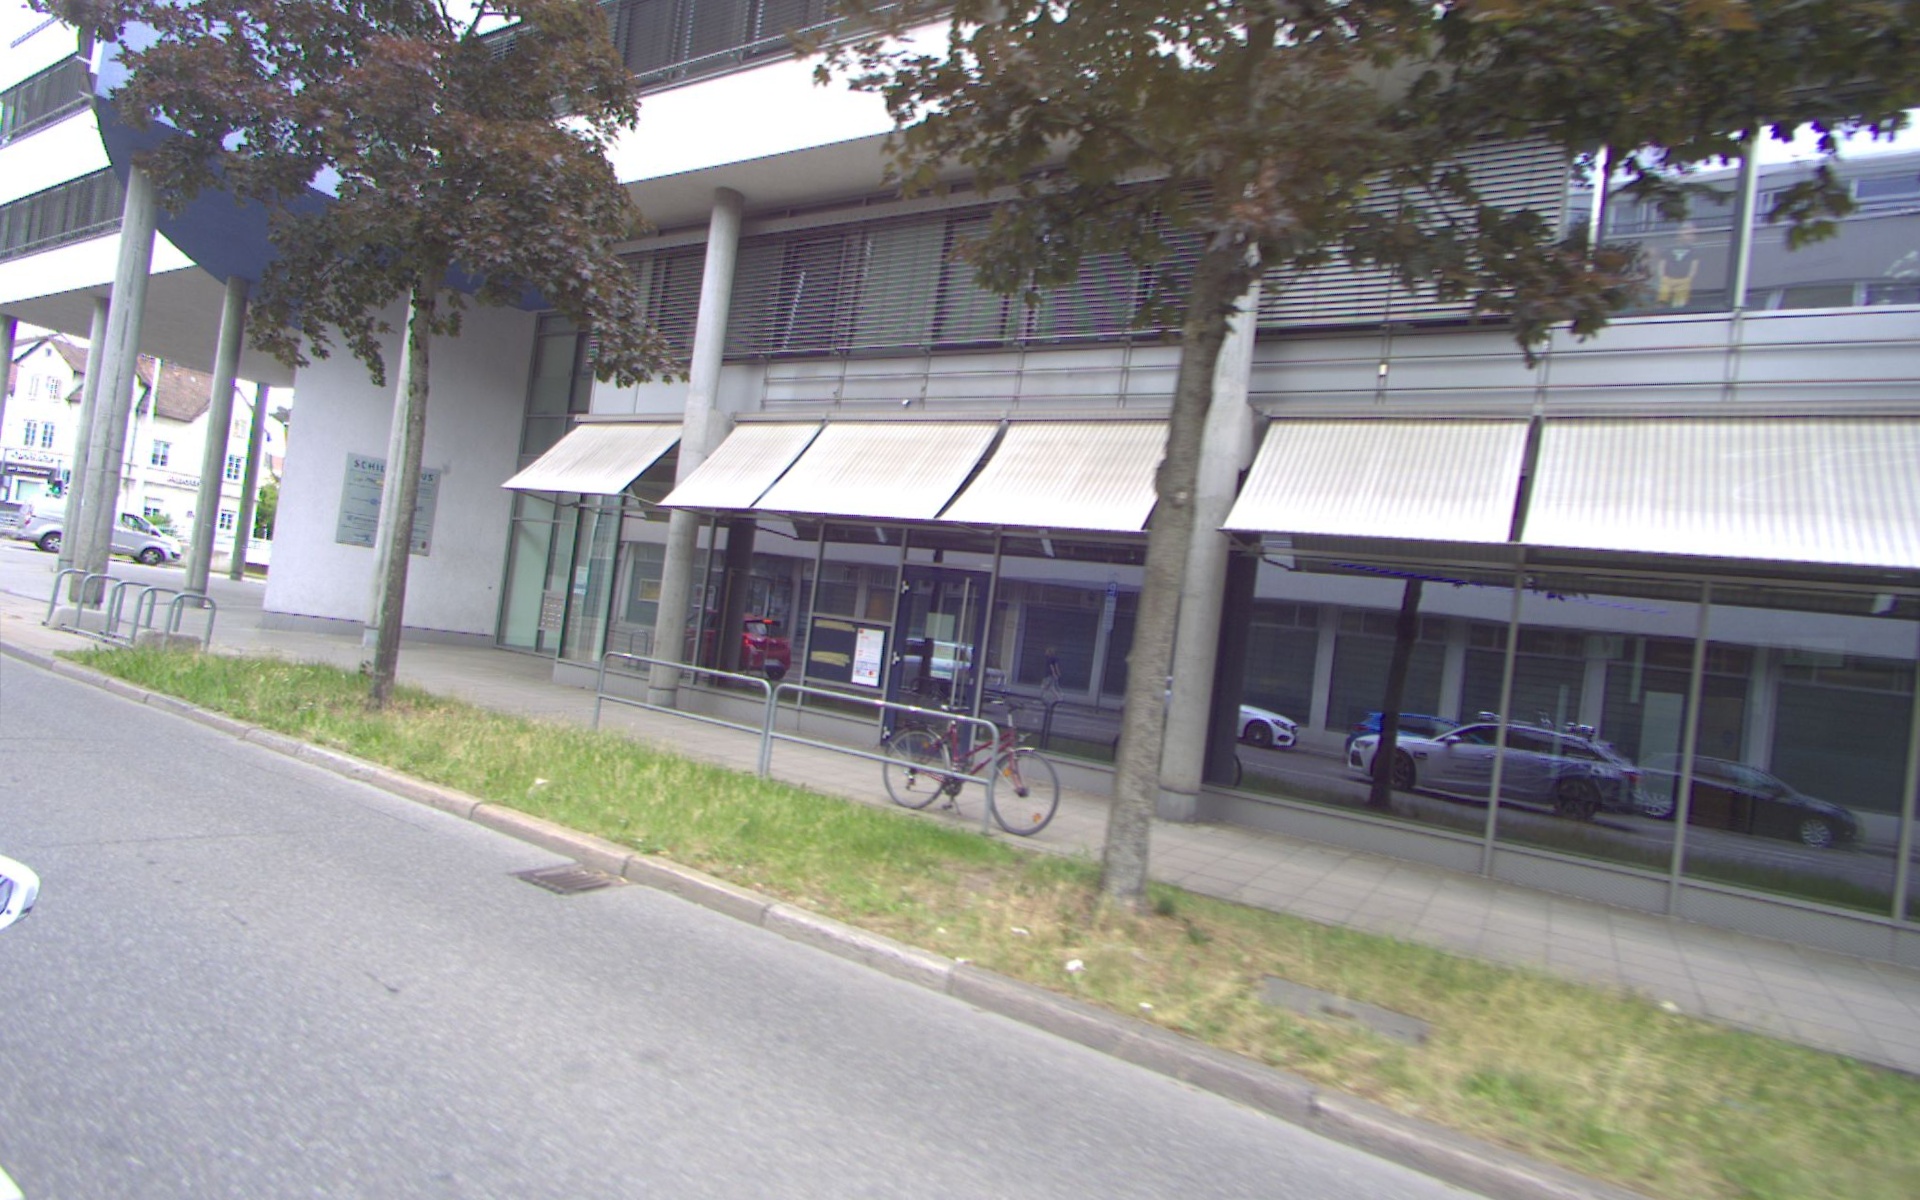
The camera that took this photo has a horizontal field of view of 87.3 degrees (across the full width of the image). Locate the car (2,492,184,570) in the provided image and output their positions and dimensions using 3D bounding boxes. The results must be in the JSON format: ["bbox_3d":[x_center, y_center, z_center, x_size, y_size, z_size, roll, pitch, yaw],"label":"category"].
[{"bbox_3d":[-33.402,-2.612,38.907,1.856,1.965,4.896,6,-5,38],"label":"car"}]

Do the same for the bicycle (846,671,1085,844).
[{"bbox_3d":[0.009,1.298,8.579,1.993,1.098,0.362,7,-2,30],"label":"bicycle"}]

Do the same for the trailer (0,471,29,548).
[{"bbox_3d":[-35.444,-3.536,34.679,1.848,2.640,4.333,8,-4,12],"label":"trailer"}]

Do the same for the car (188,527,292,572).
[{"bbox_3d":[-44.801,-3.103,62.698,4.702,1.939,1.990,8,-3,-7],"label":"car"}]
